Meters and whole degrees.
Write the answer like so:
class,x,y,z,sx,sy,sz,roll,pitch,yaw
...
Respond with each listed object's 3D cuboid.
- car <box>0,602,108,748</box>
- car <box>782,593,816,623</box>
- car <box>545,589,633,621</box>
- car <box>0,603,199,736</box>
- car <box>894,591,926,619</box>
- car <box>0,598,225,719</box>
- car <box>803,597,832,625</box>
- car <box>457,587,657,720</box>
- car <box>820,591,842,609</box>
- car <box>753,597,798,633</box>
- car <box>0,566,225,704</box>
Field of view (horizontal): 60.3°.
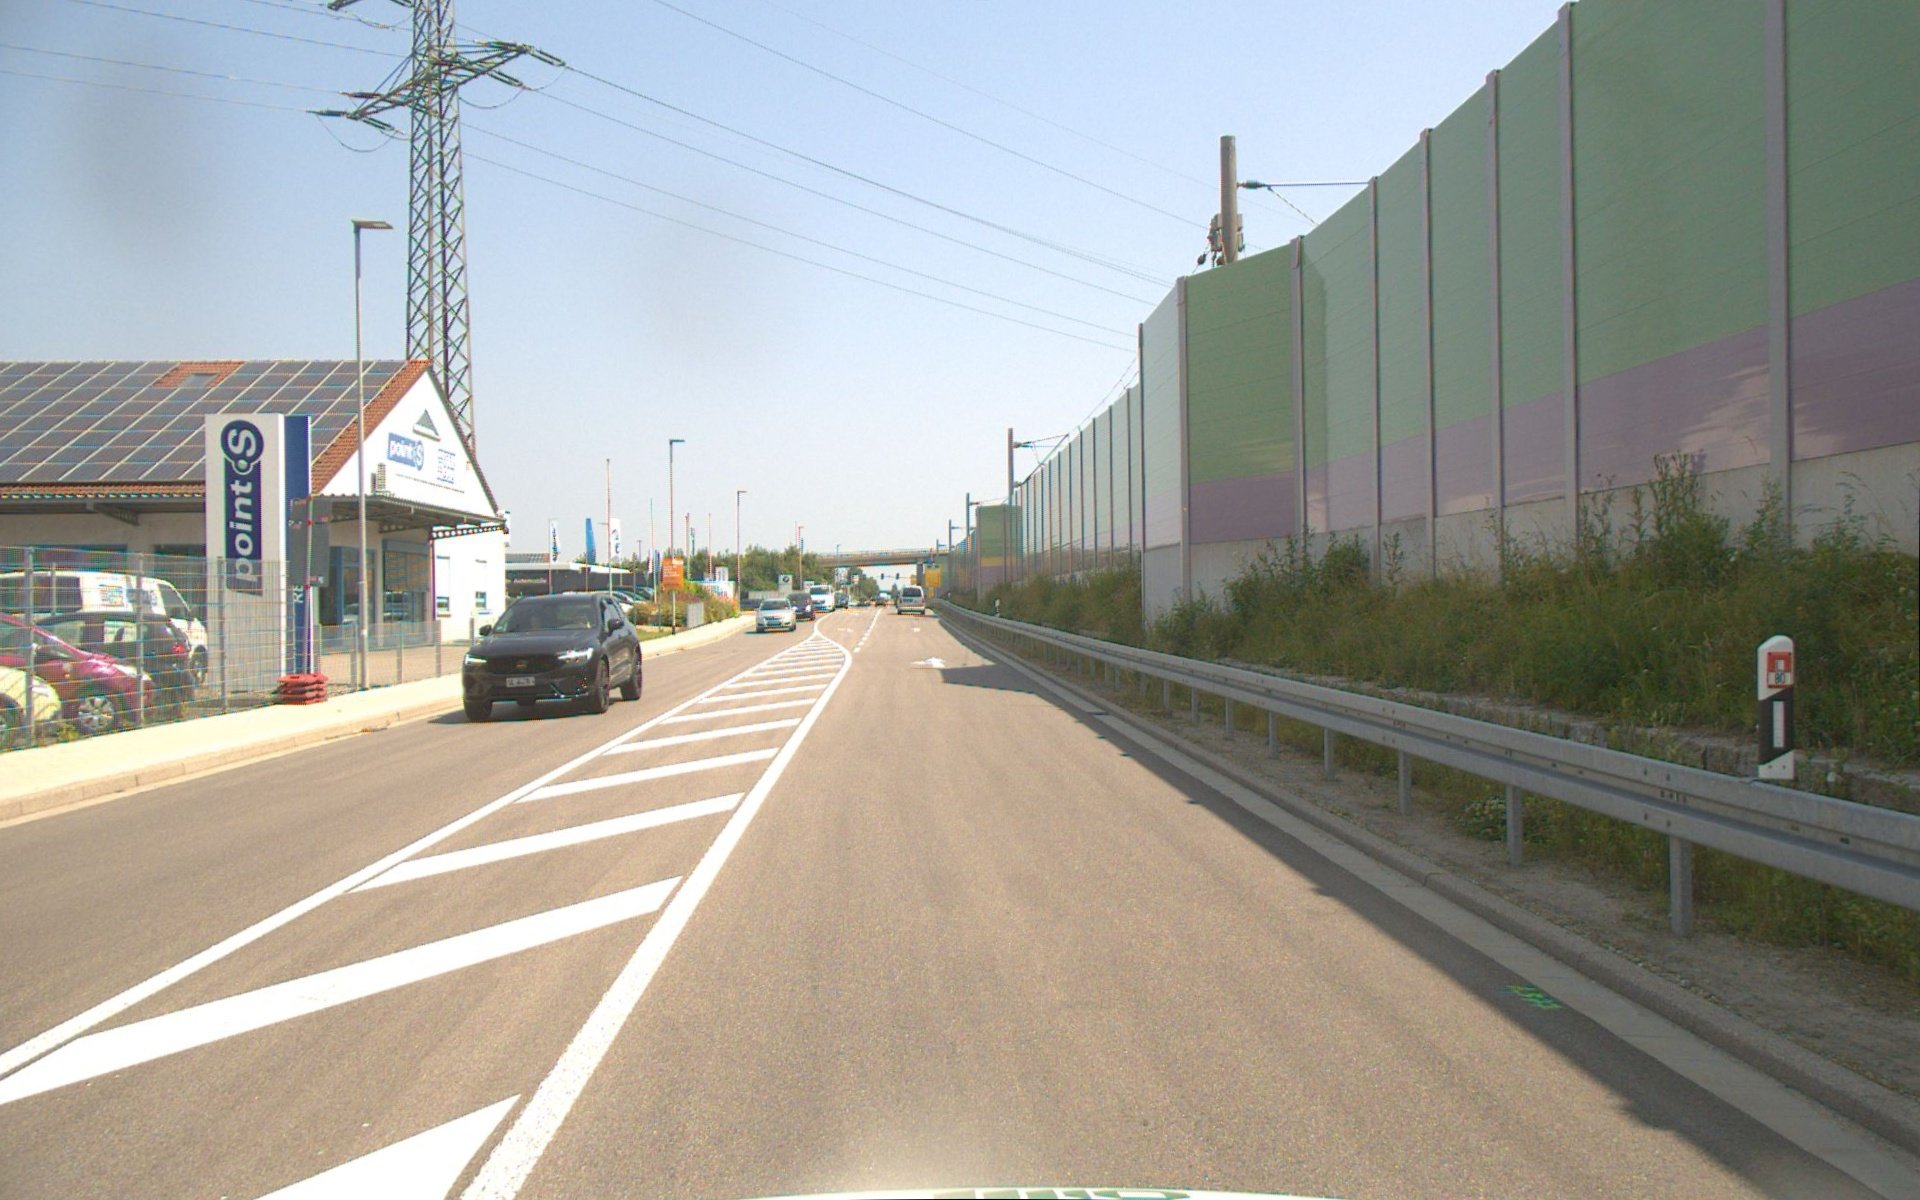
class,x,y,z,sx,sy,sz,roll,pitch,yaw
car,-11.374,0.808,17.405,4.052,1.519,1.720,-1,0,-38
car,-9.215,0.450,94.988,1.635,1.628,3.970,-3,0,-3
car,-18.957,0.258,84.656,4.141,1.481,1.763,2,0,-4
car,-11.571,0.830,20.150,3.954,1.519,1.722,-1,0,-36
car,-3.213,0.312,106.078,1.953,1.788,3.999,-1,0,-1
car,-12.128,0.765,22.329,3.942,1.519,1.728,-1,0,-28
car,-10.066,0.770,116.982,1.955,1.907,5.164,-2,0,-5
car,-5.732,0.699,24.073,1.843,1.645,4.521,-3,0,-2
car,-10.867,0.008,139.682,1.637,1.447,3.998,-3,0,-3
car,-8.350,0.656,75.061,1.729,1.491,4.256,-3,0,-3
car,-14.206,0.564,27.475,1.953,2.049,4.679,-1,-1,-1
